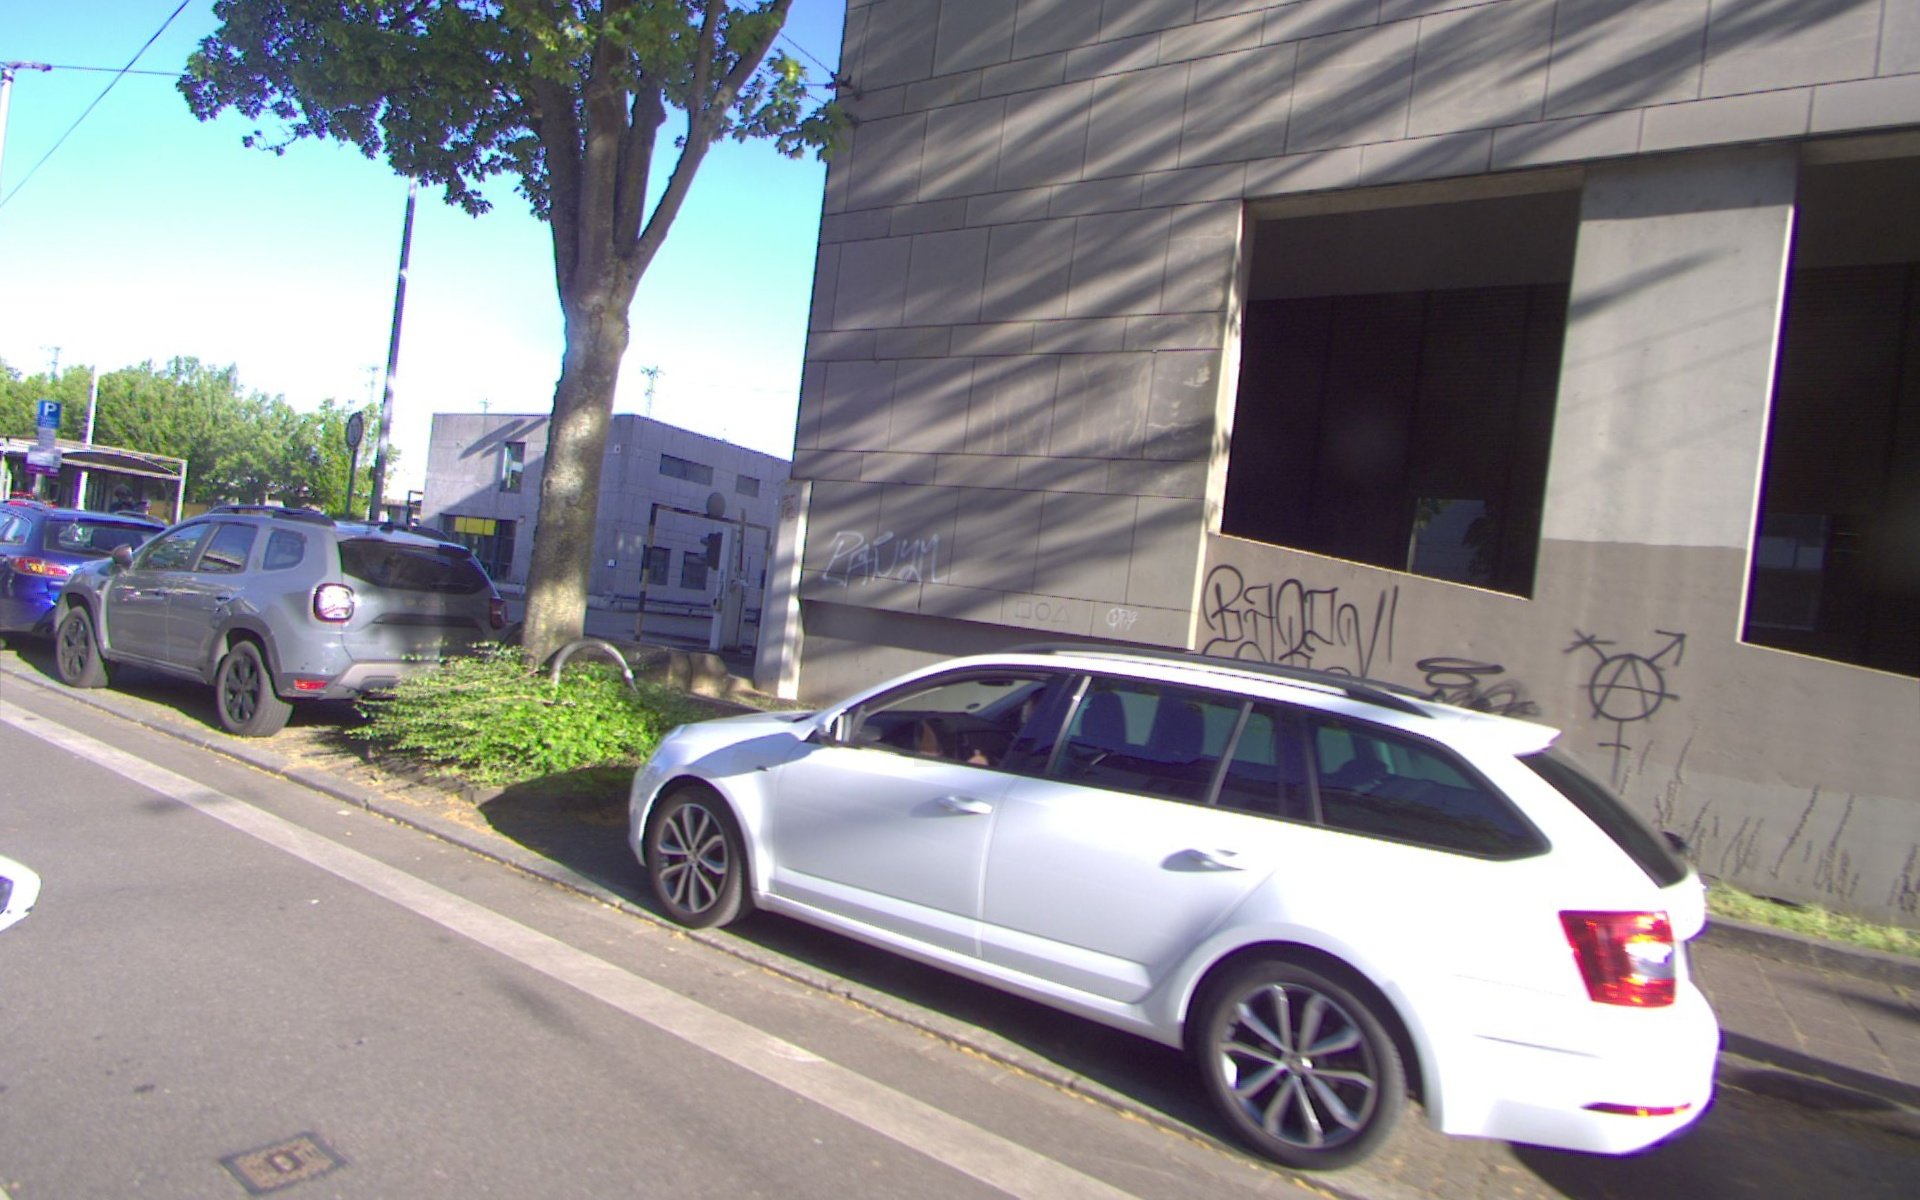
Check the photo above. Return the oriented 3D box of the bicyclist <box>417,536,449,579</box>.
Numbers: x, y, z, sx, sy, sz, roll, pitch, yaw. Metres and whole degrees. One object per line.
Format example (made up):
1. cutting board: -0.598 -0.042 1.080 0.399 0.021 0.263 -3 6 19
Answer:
1. bicyclist: -18.337 -1.473 35.042 0.719 1.400 0.580 7 -1 -15

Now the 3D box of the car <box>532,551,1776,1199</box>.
1. car: 0.399 0.844 4.374 4.546 1.507 1.716 7 -1 32

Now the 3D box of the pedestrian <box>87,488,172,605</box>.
1. pedestrian: -13.701 -0.884 16.589 1.282 1.814 0.671 6 4 31

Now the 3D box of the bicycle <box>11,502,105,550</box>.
1. bicycle: -25.725 -2.102 28.715 0.569 1.019 1.894 6 -2 43

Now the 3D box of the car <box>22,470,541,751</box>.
1. car: -5.747 0.019 8.425 4.204 1.731 1.746 6 -2 29

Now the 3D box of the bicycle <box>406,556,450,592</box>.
1. bicycle: -18.461 -0.889 34.959 0.742 1.083 2.005 7 -2 -13

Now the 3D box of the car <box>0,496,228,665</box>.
1. car: -10.227 -0.327 11.157 4.581 1.499 1.705 6 -1 32
